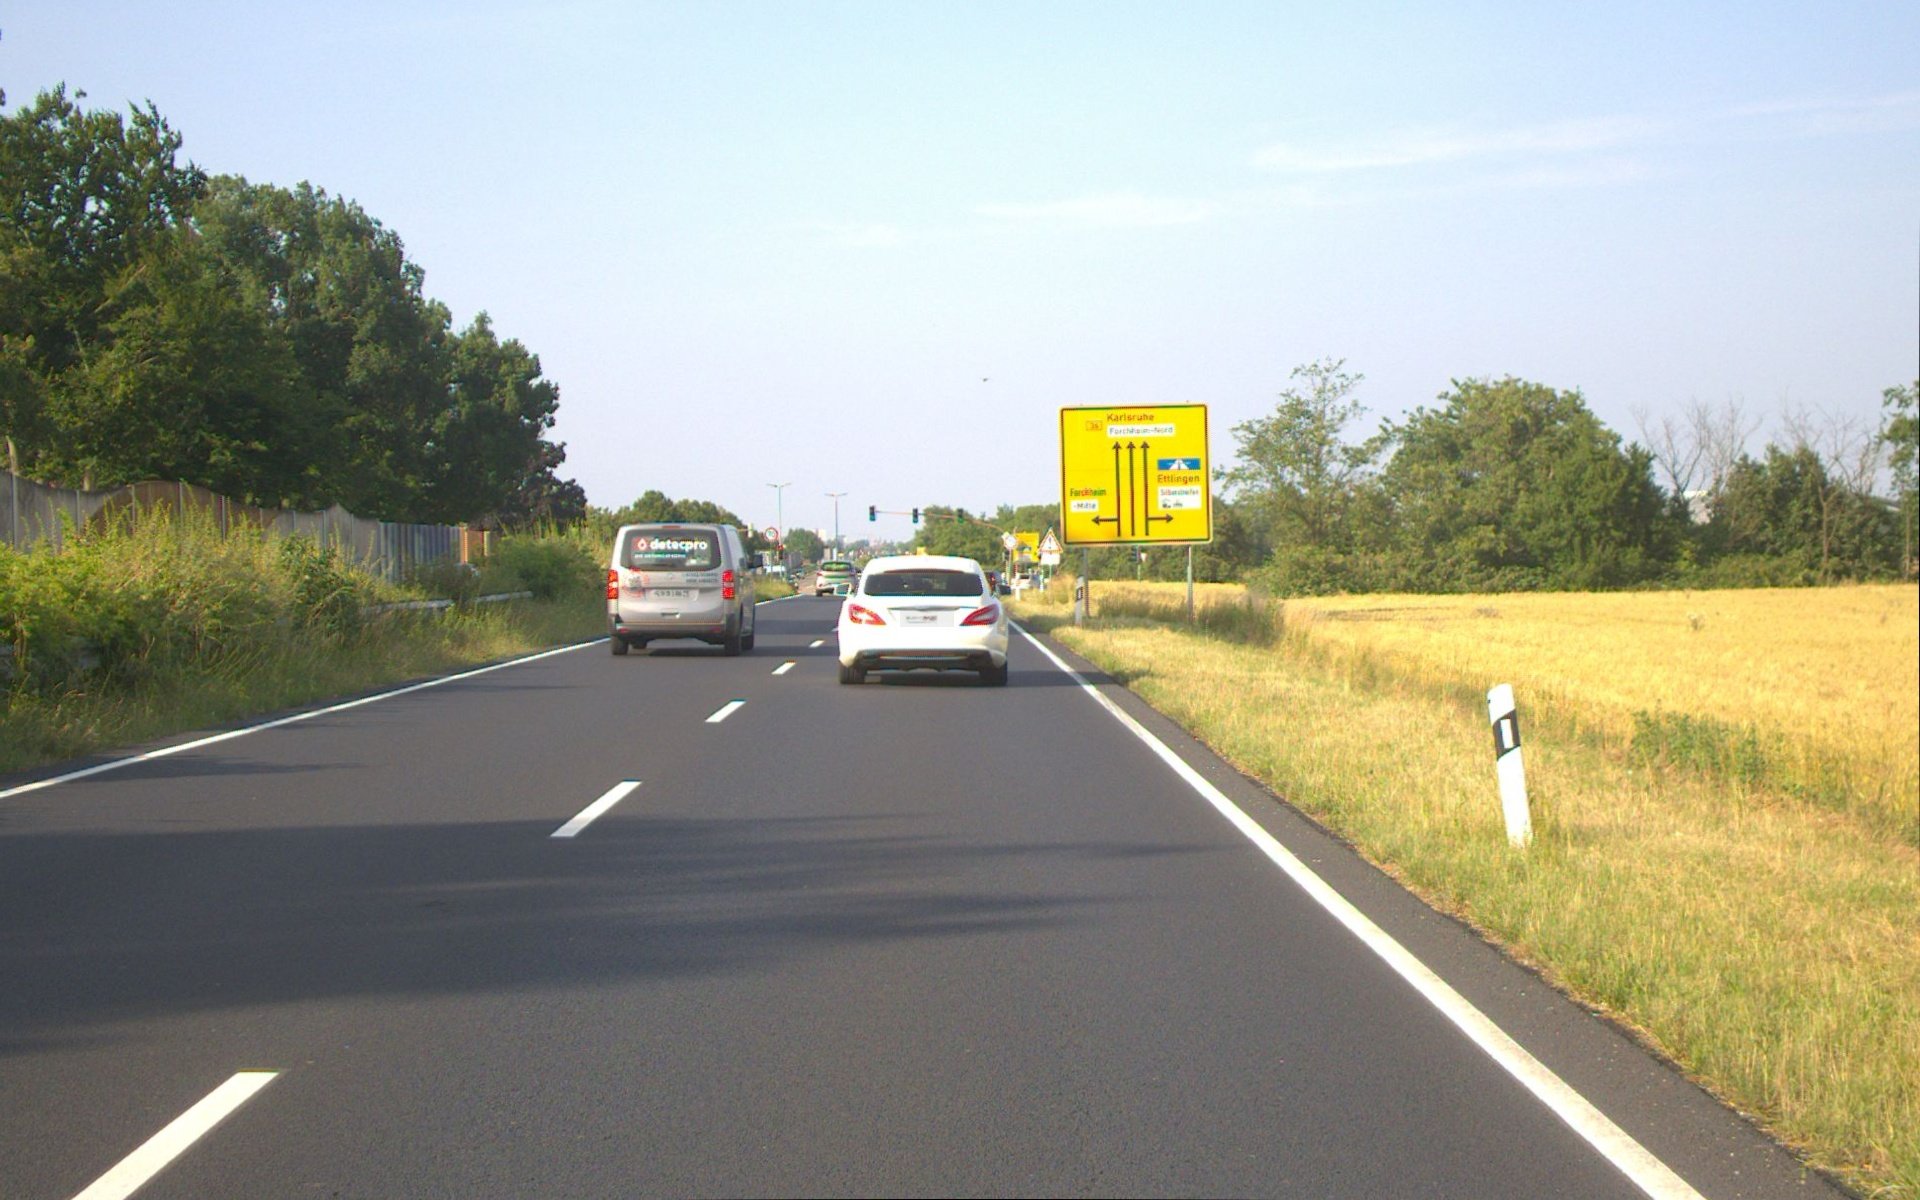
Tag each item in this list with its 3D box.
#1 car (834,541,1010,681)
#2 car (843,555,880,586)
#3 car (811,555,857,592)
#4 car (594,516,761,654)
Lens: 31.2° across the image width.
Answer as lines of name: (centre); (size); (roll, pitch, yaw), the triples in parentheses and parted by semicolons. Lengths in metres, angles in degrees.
car: (-0.443, 0.103, 38.981); (1.894, 1.503, 4.000); (0, 0, -1)
car: (-4.862, -1.462, 169.365); (1.717, 1.487, 3.584); (1, 0, 0)
car: (-5.107, -1.078, 139.646); (1.717, 1.487, 3.584); (1, 0, 0)
car: (-4.063, -0.248, 50.174); (2.025, 1.885, 4.958); (1, 1, 0)
